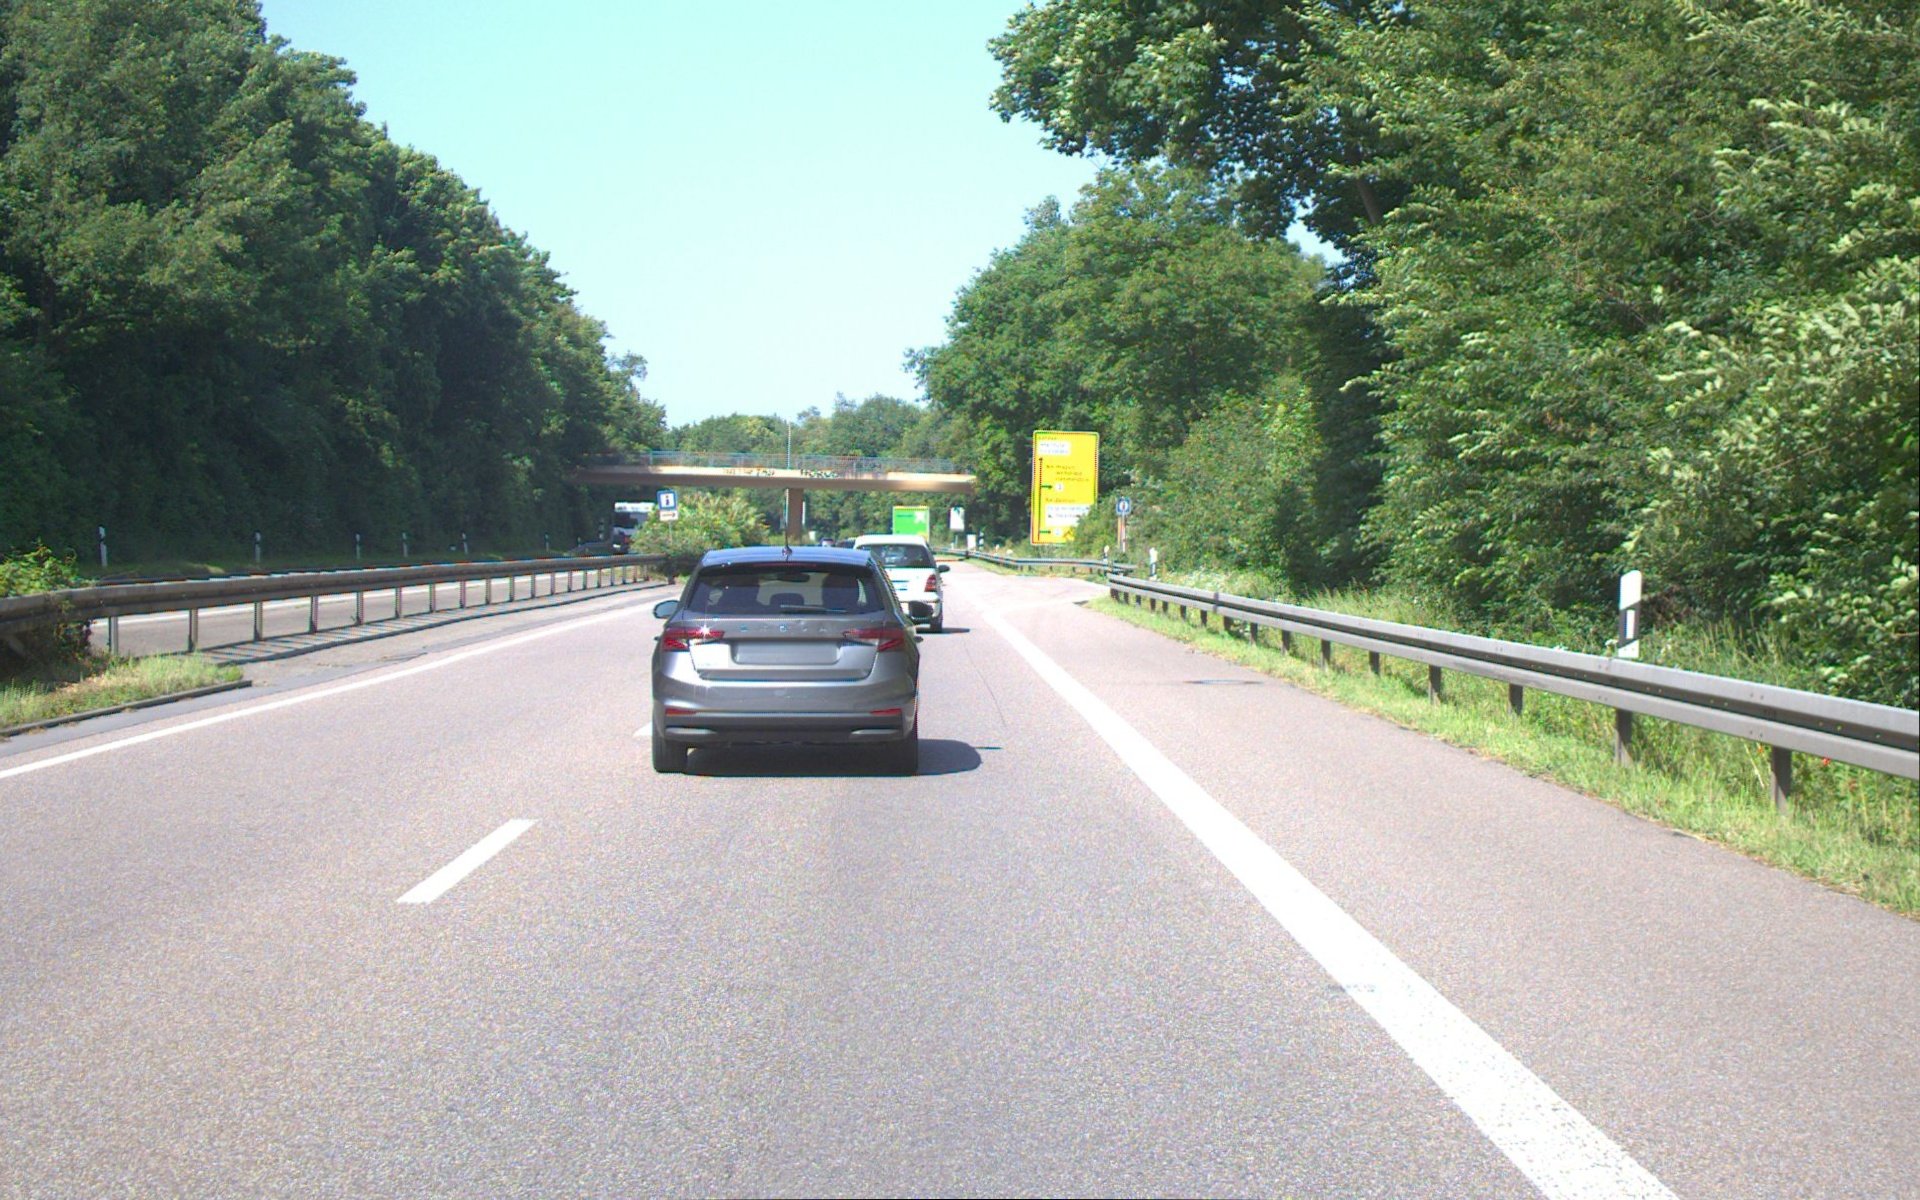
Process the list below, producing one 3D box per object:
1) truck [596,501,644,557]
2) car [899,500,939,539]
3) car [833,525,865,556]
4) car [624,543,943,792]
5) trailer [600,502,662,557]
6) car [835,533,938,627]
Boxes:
[{"bbox_3d":[-19.976,-4.172,201.963,2.425,3.247,4.000,1,1,0],"label":"truck"},{"bbox_3d":[-2.881,-5.664,241.846,2.748,2.645,4.000,1,1,-1],"label":"car"},{"bbox_3d":[-7.306,-3.956,227.266,1.993,2.007,4.000,1,1,-1],"label":"car"},{"bbox_3d":[-1.084,0.380,22.727,1.840,1.467,3.623,1,1,1],"label":"car"},{"bbox_3d":[-19.934,-4.251,209.035,2.492,3.224,14.432,1,1,0],"label":"trailer"},{"bbox_3d":[-1.172,-0.345,55.942,1.522,1.442,3.340,1,1,1],"label":"car"}]
